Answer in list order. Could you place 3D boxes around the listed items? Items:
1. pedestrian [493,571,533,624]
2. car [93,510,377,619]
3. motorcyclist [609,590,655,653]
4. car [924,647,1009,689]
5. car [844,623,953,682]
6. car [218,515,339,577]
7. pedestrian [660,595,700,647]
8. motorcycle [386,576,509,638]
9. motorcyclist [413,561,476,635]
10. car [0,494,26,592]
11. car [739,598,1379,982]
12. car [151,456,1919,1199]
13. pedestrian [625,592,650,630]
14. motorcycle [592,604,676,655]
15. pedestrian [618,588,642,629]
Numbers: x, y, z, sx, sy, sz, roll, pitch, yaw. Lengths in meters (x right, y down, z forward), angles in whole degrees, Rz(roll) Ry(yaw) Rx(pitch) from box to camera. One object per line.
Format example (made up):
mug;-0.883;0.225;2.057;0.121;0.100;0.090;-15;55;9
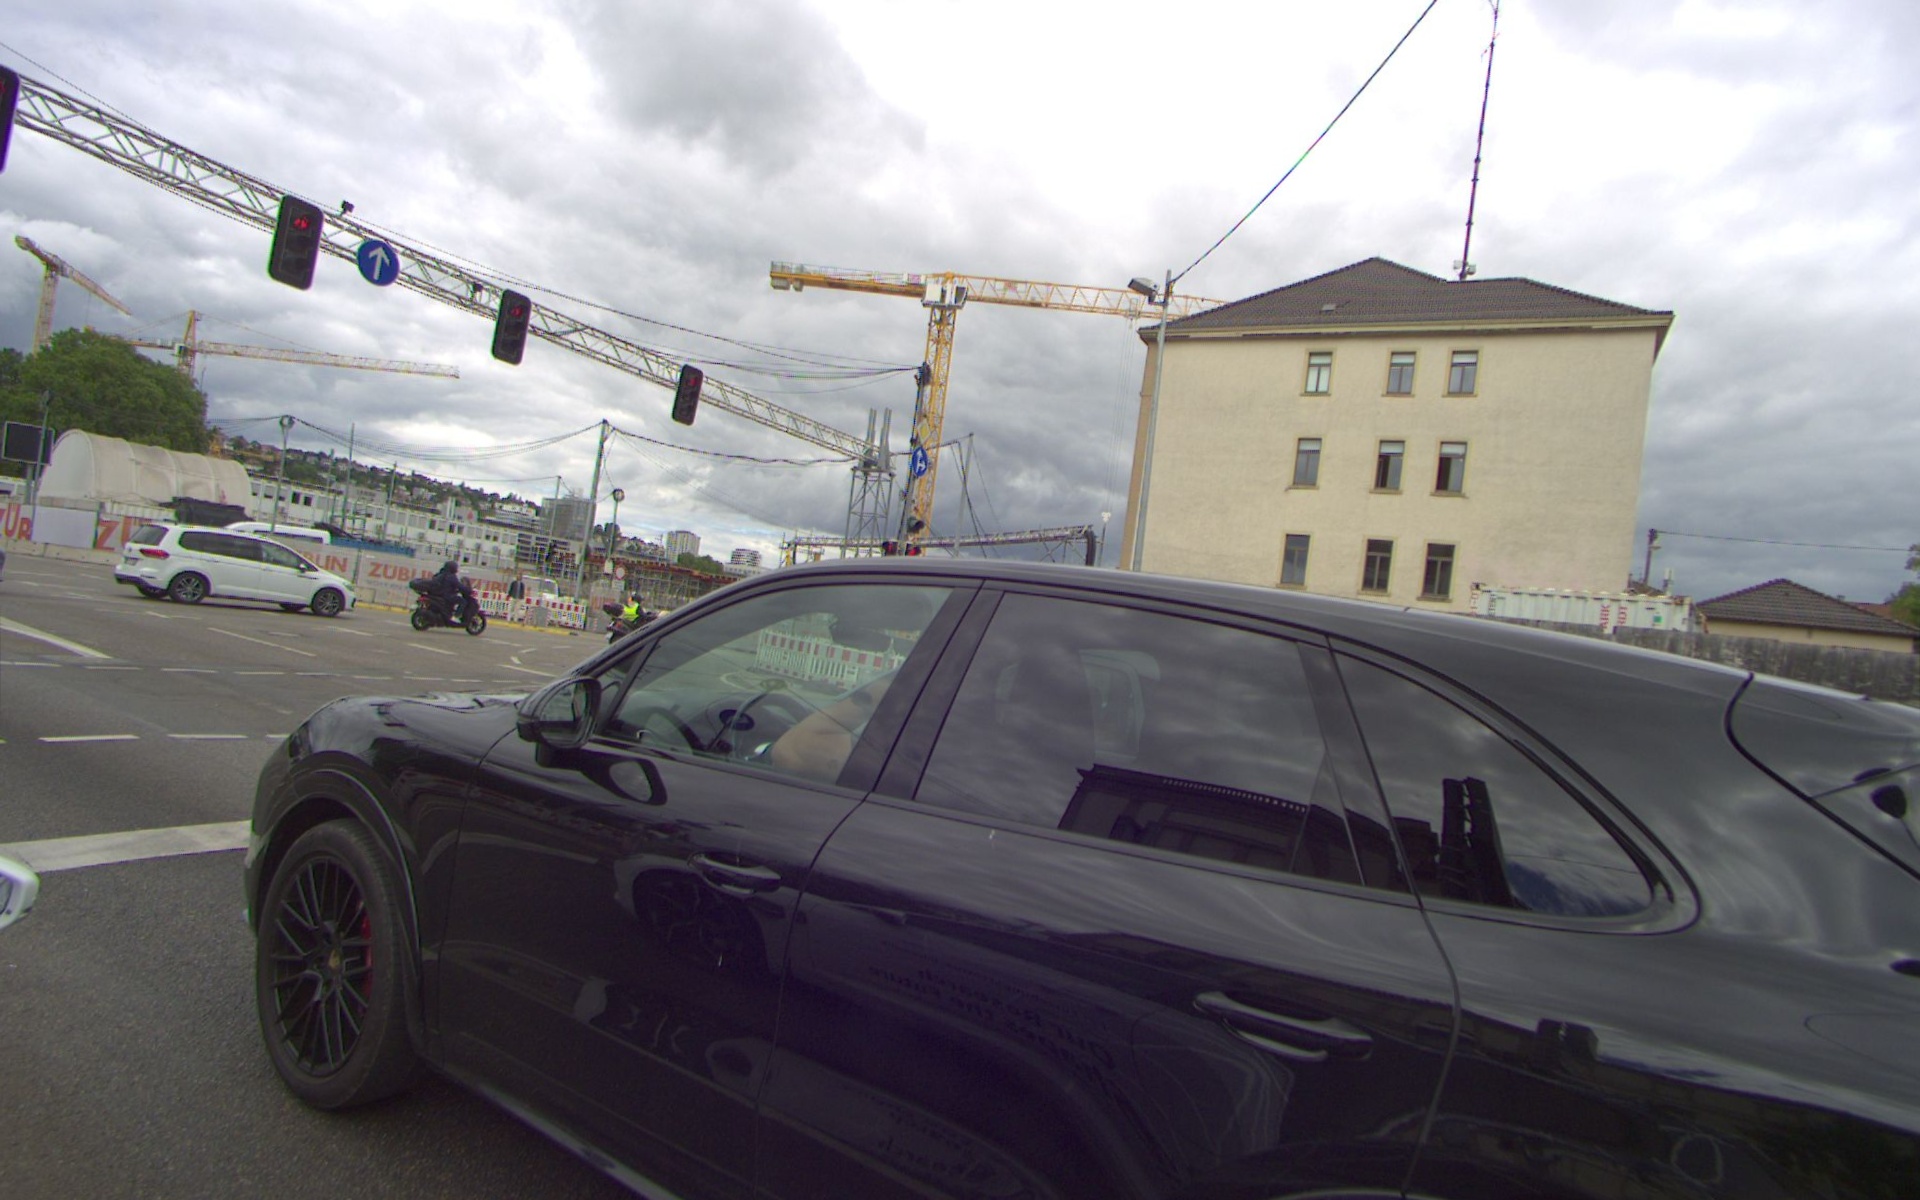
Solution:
pedestrian;-17.311;-0.095;38.978;1.040;1.869;0.781;8;-1;-42
car;-16.148;-0.717;22.706;1.966;1.721;4.682;6;-2;29
motorcyclist;-8.986;0.599;27.599;0.641;1.615;0.787;6;-1;32
car;0.370;3.285;48.032;1.968;1.565;4.112;6;-2;34
car;-2.309;2.063;38.712;1.967;1.826;4.279;6;-2;31
car;-29.531;-2.326;43.647;3.976;2.037;1.976;9;-2;-43
pedestrian;-11.980;0.894;43.057;1.033;2.037;1.029;6;-1;43
motorcycle;-12.073;0.193;23.806;0.804;1.168;2.427;6;-2;32
motorcyclist;-12.129;-0.044;23.685;0.804;1.589;0.880;6;-1;32
car;-17.228;-1.209;15.026;1.966;1.557;4.305;6;-2;29
car;0.574;0.998;6.557;3.587;1.527;1.825;6;-2;33
car;-0.007;0.689;2.721;4.505;1.687;1.996;6;-2;34
pedestrian;-17.559;0.594;54.795;0.850;1.938;0.680;7;-1;26
motorcycle;-8.945;0.834;27.704;0.641;1.168;2.171;6;-2;32
pedestrian;-17.647;0.445;53.830;0.855;2.037;0.677;6;-1;44
